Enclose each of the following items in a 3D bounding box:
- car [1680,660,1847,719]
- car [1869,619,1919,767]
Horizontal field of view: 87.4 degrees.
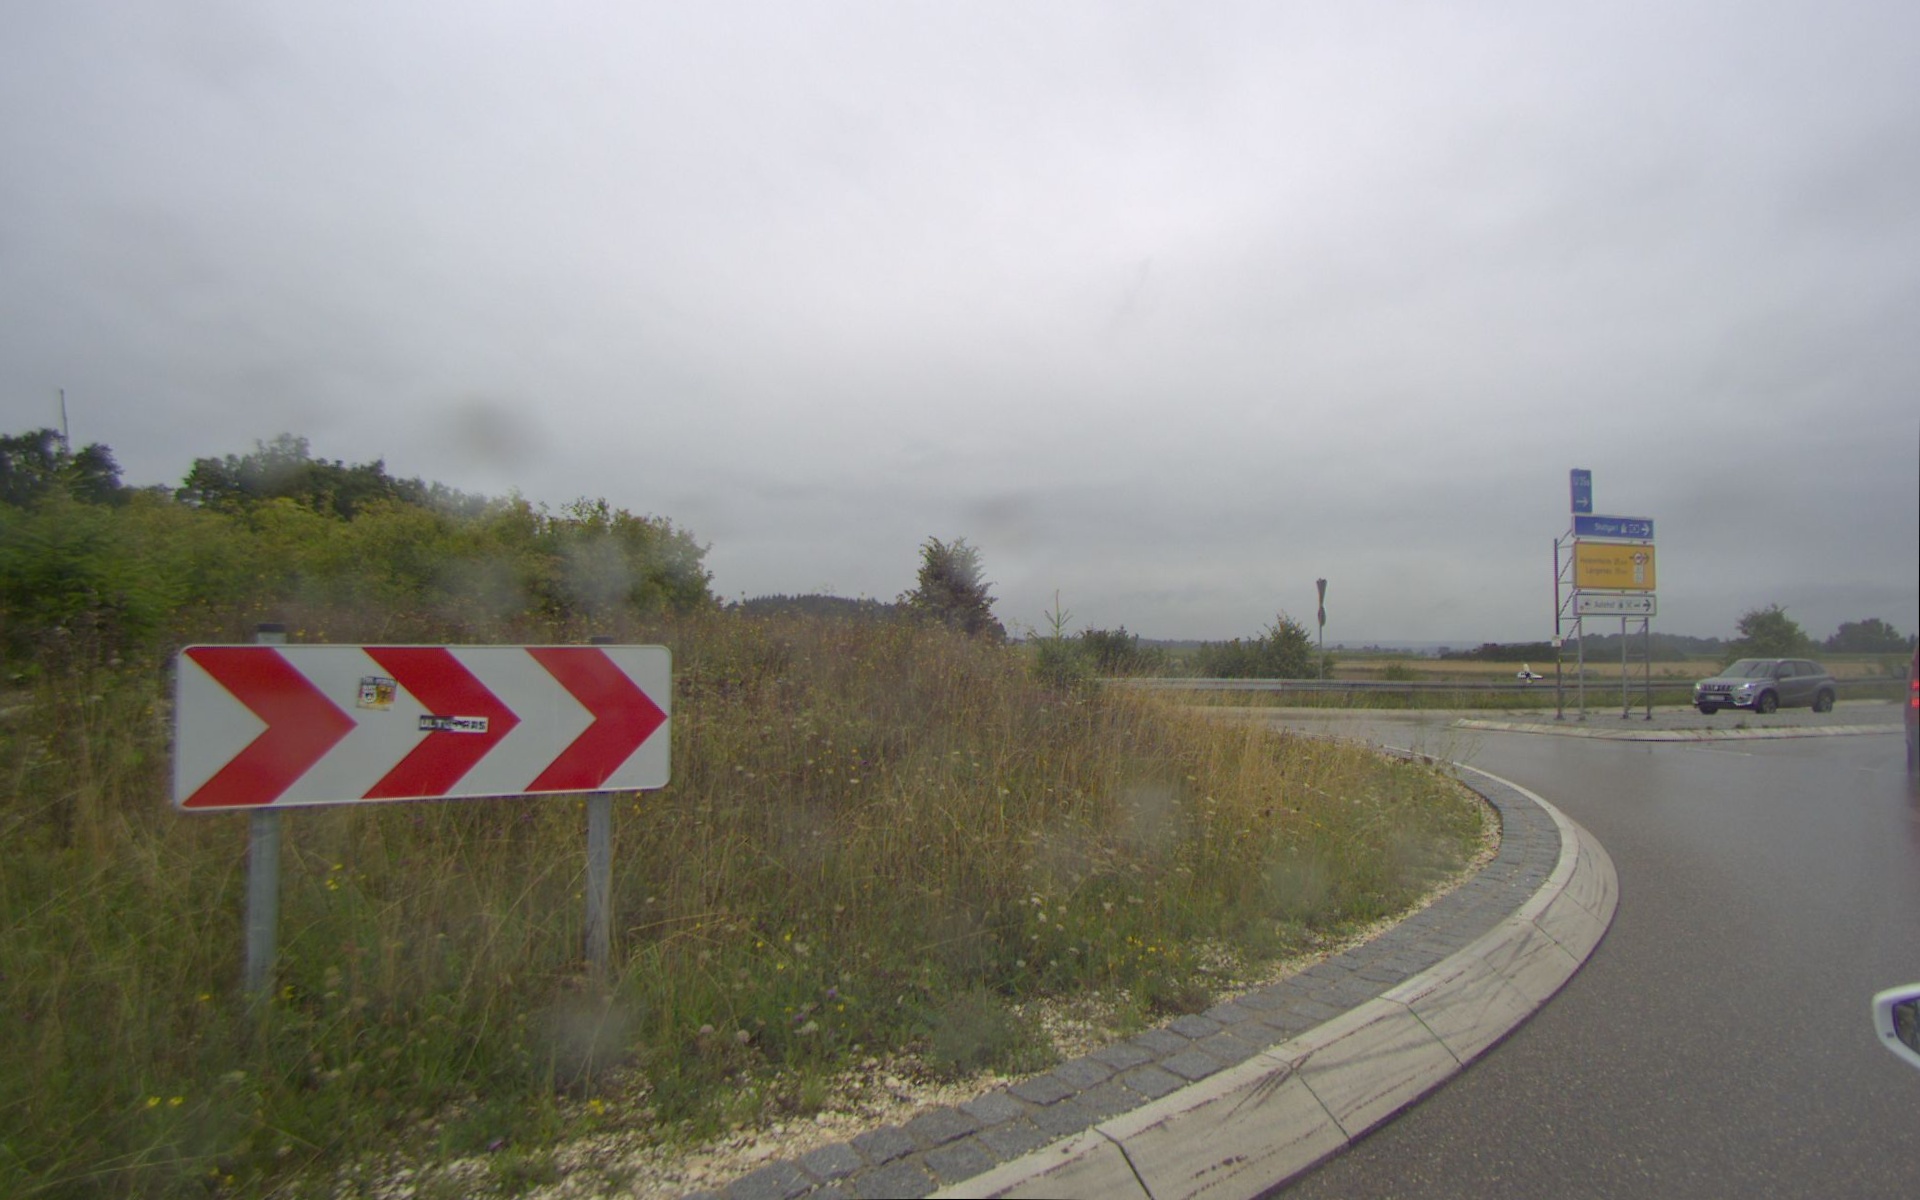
[{"bbox_3d":[23.244,2.575,29.089,3.933,1.595,1.801,1,-2,-15],"label":"car"},{"bbox_3d":[14.419,1.216,14.287,1.971,1.895,4.954,-3,-4,40],"label":"car"}]
